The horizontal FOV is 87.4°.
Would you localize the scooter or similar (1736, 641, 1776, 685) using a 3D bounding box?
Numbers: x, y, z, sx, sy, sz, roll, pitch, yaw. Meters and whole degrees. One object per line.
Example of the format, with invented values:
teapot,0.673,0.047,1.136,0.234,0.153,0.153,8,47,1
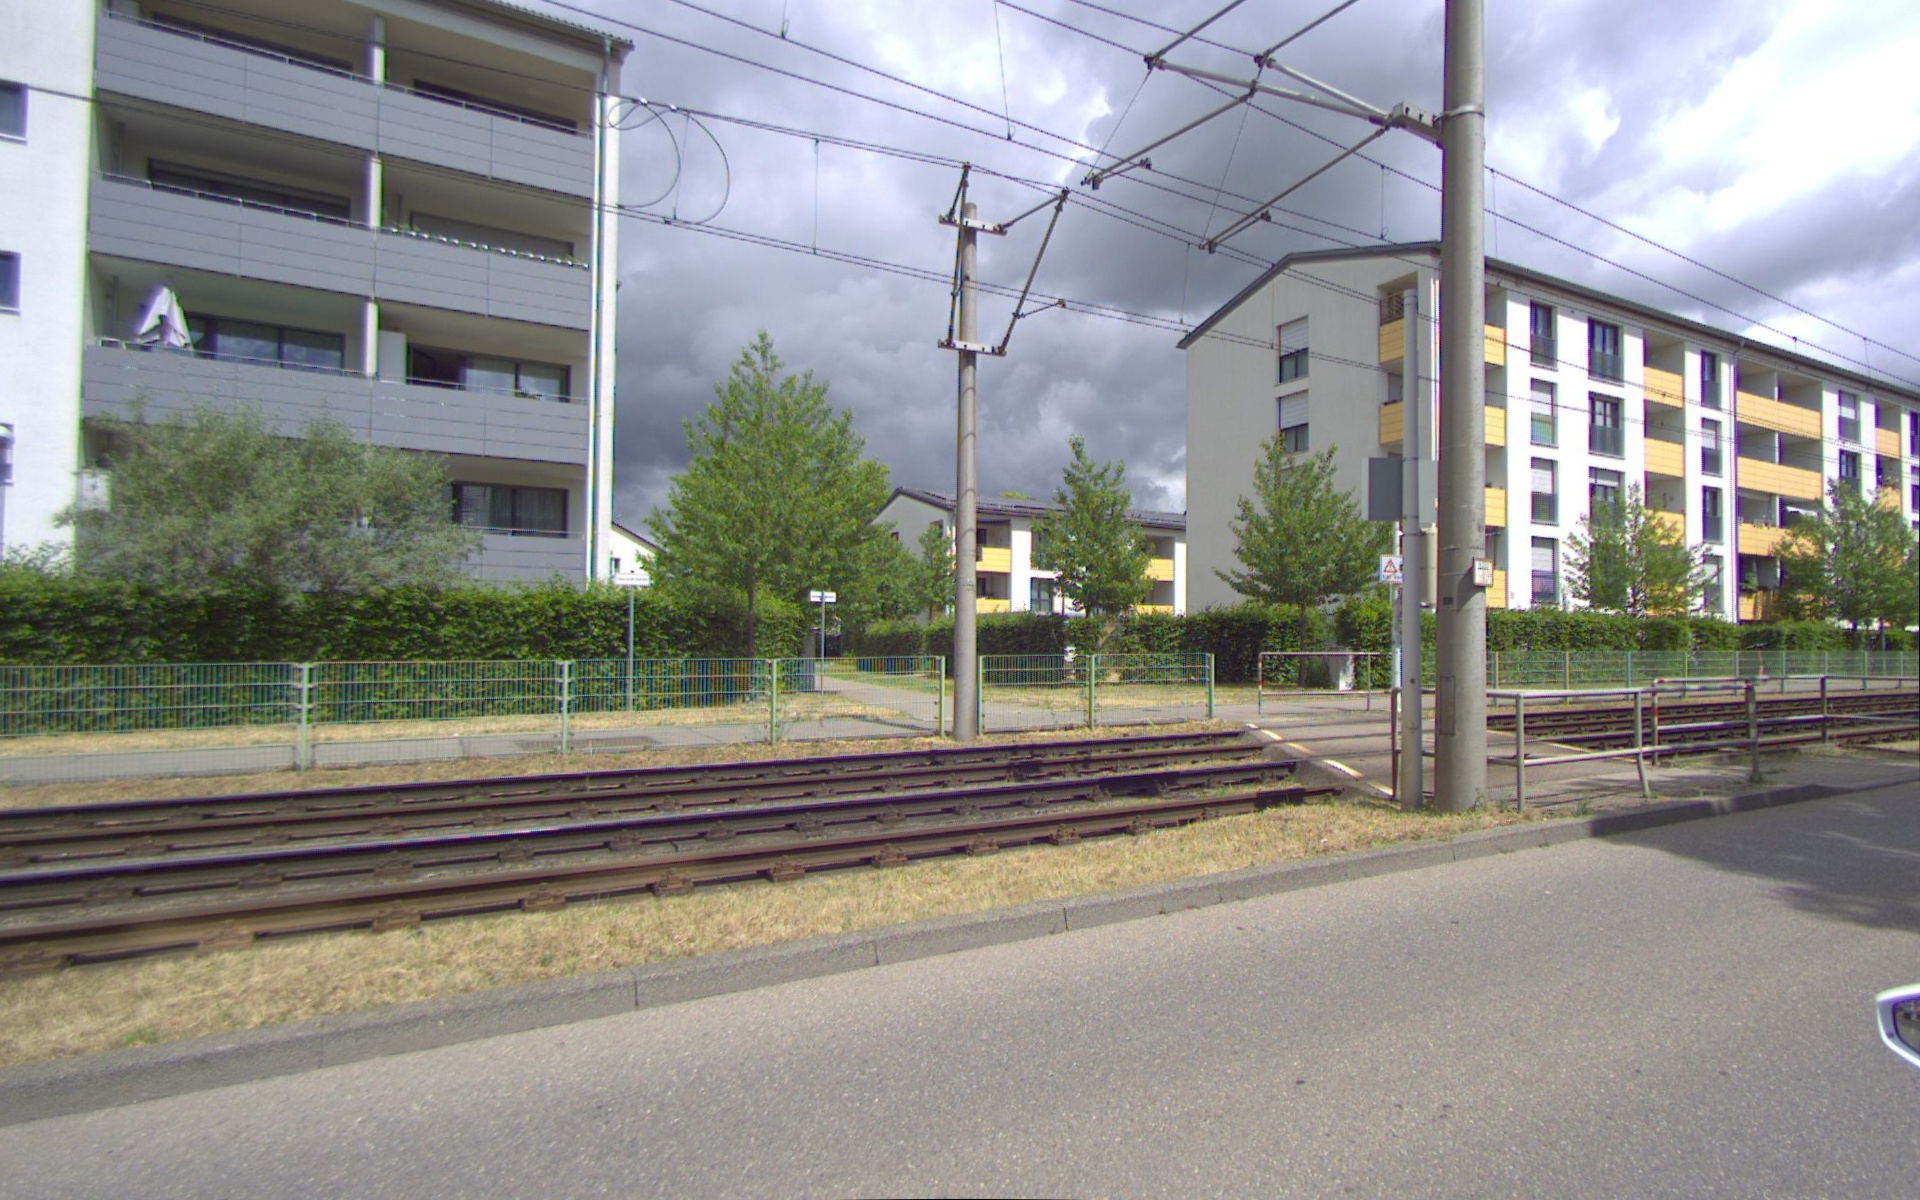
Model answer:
scooter or similar,24.224,1.896,30.564,1.286,1.310,0.488,1,-1,-29
